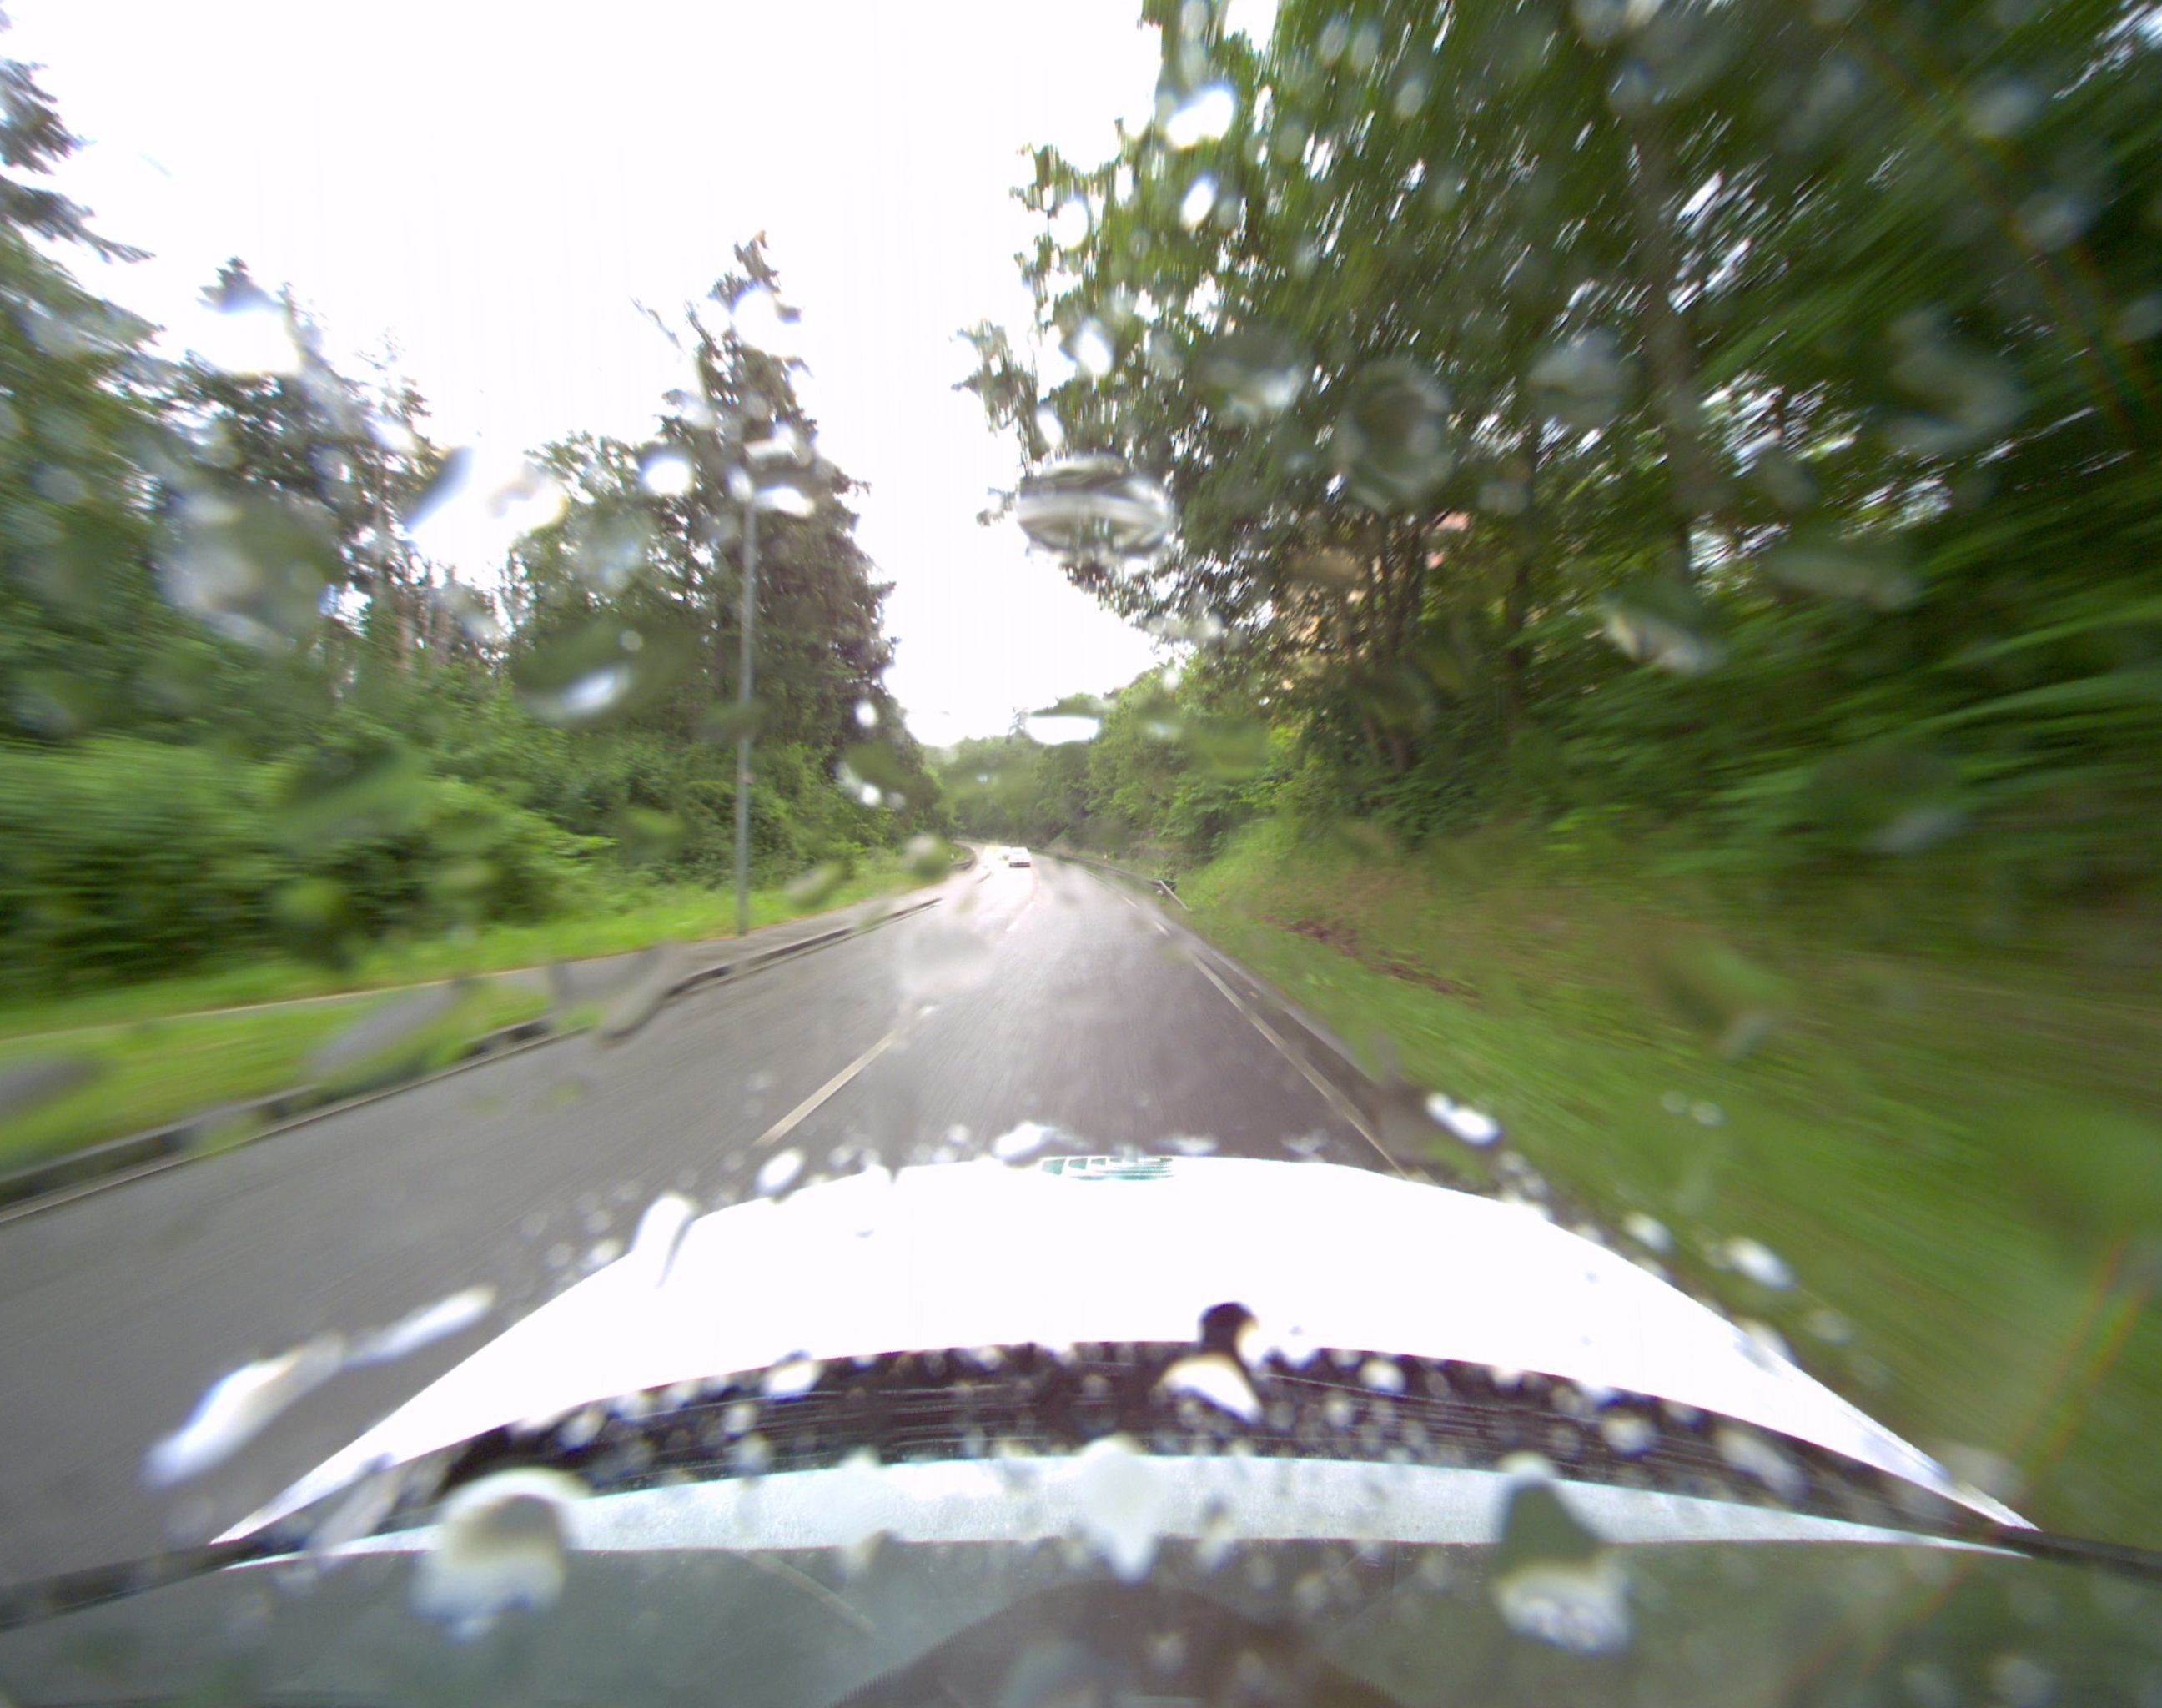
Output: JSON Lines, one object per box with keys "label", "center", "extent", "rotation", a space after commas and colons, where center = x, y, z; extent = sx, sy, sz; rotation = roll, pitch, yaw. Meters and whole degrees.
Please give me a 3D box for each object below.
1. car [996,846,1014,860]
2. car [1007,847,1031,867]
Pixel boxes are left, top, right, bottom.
{"label": "car", "center": [-8.538, -0.078, 91.598], "extent": [1.813, 1.434, 3.990], "rotation": [-1, 0, -7]}
{"label": "car", "center": [-5.490, 0.284, 71.951], "extent": [1.813, 1.648, 4.120], "rotation": [-1, 0, -8]}
